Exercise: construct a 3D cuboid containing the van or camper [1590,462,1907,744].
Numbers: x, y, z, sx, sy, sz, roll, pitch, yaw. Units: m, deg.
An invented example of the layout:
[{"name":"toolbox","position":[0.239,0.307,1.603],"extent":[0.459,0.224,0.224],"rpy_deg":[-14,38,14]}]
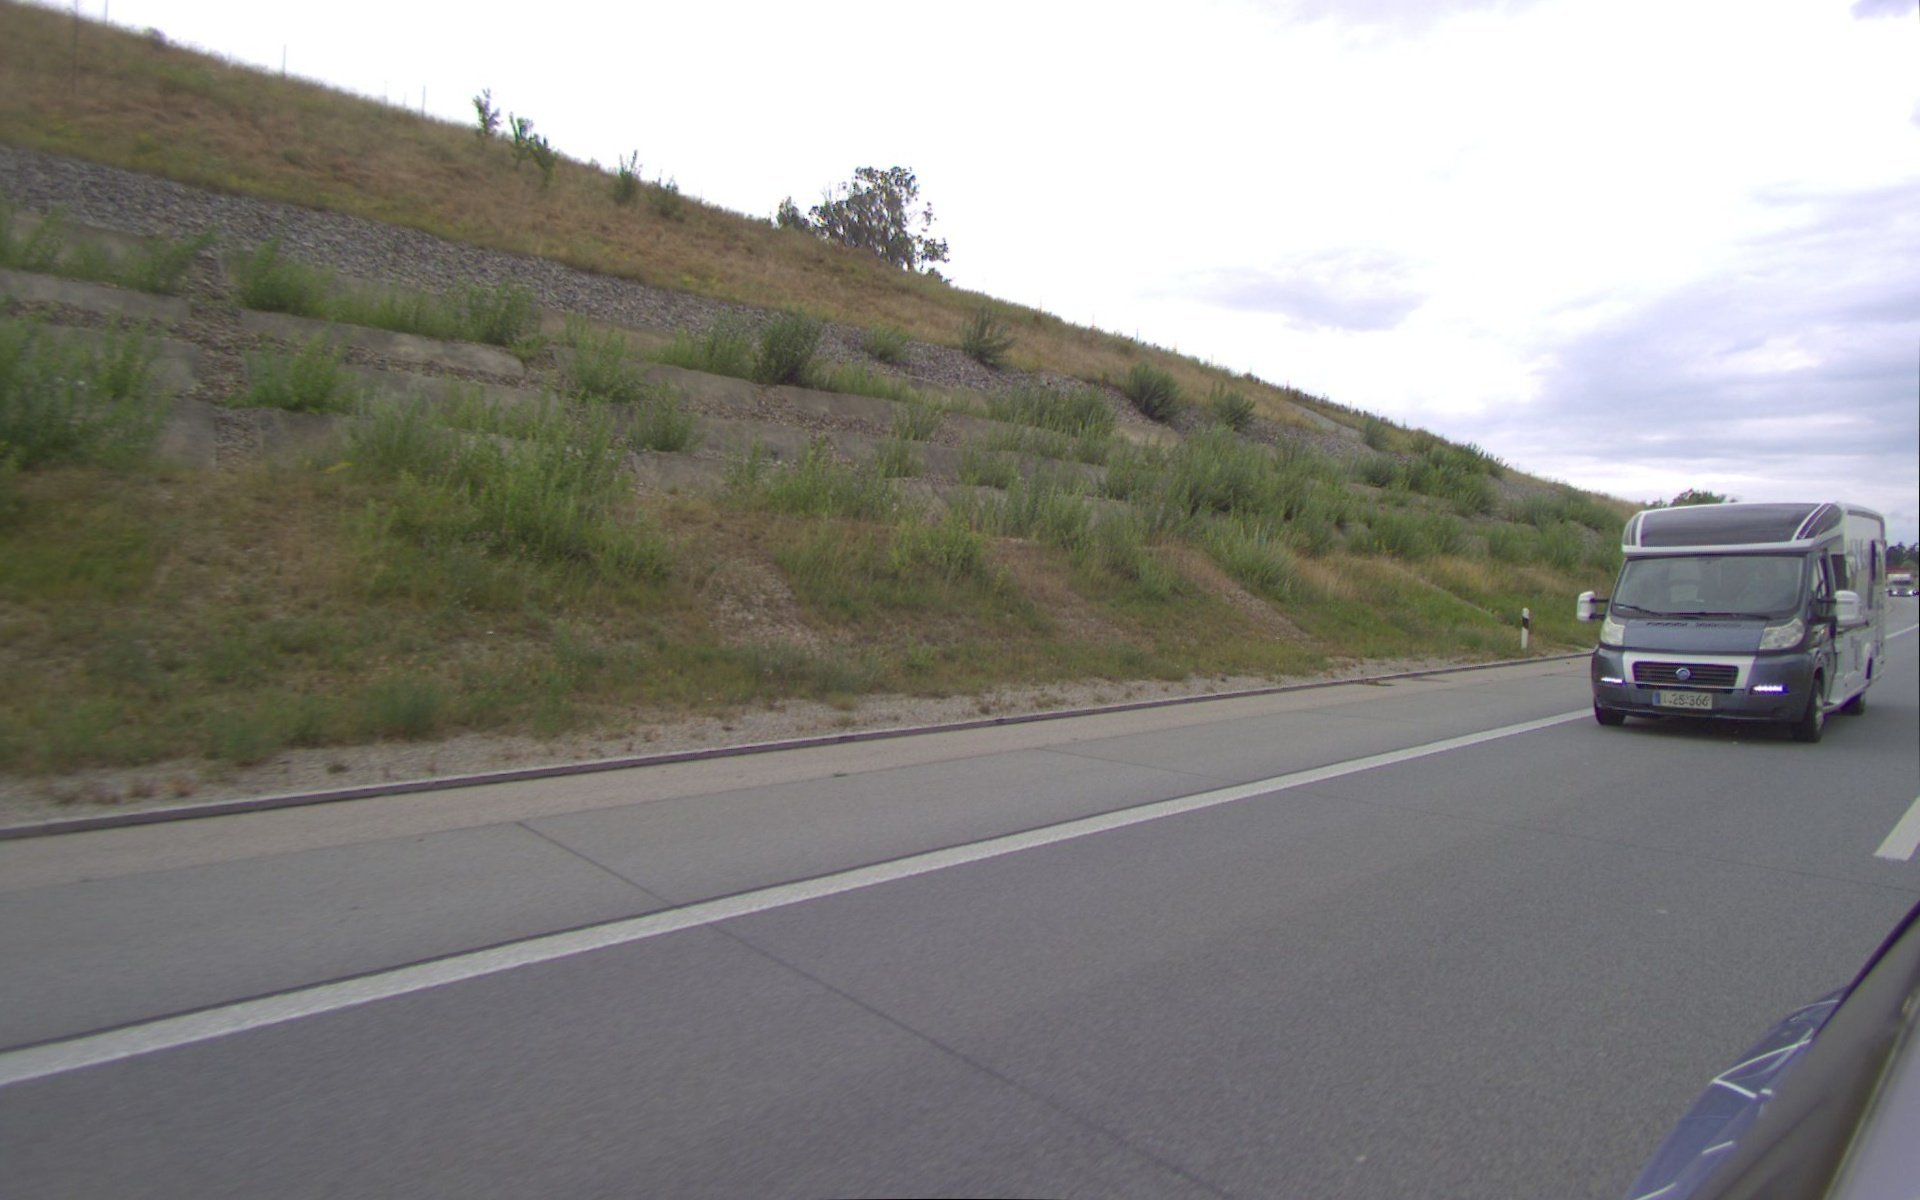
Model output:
[{"name":"van or camper","position":[10.393,0.000,13.035],"extent":[6.784,2.771,2.101],"rpy_deg":[0,1,-42]}]
